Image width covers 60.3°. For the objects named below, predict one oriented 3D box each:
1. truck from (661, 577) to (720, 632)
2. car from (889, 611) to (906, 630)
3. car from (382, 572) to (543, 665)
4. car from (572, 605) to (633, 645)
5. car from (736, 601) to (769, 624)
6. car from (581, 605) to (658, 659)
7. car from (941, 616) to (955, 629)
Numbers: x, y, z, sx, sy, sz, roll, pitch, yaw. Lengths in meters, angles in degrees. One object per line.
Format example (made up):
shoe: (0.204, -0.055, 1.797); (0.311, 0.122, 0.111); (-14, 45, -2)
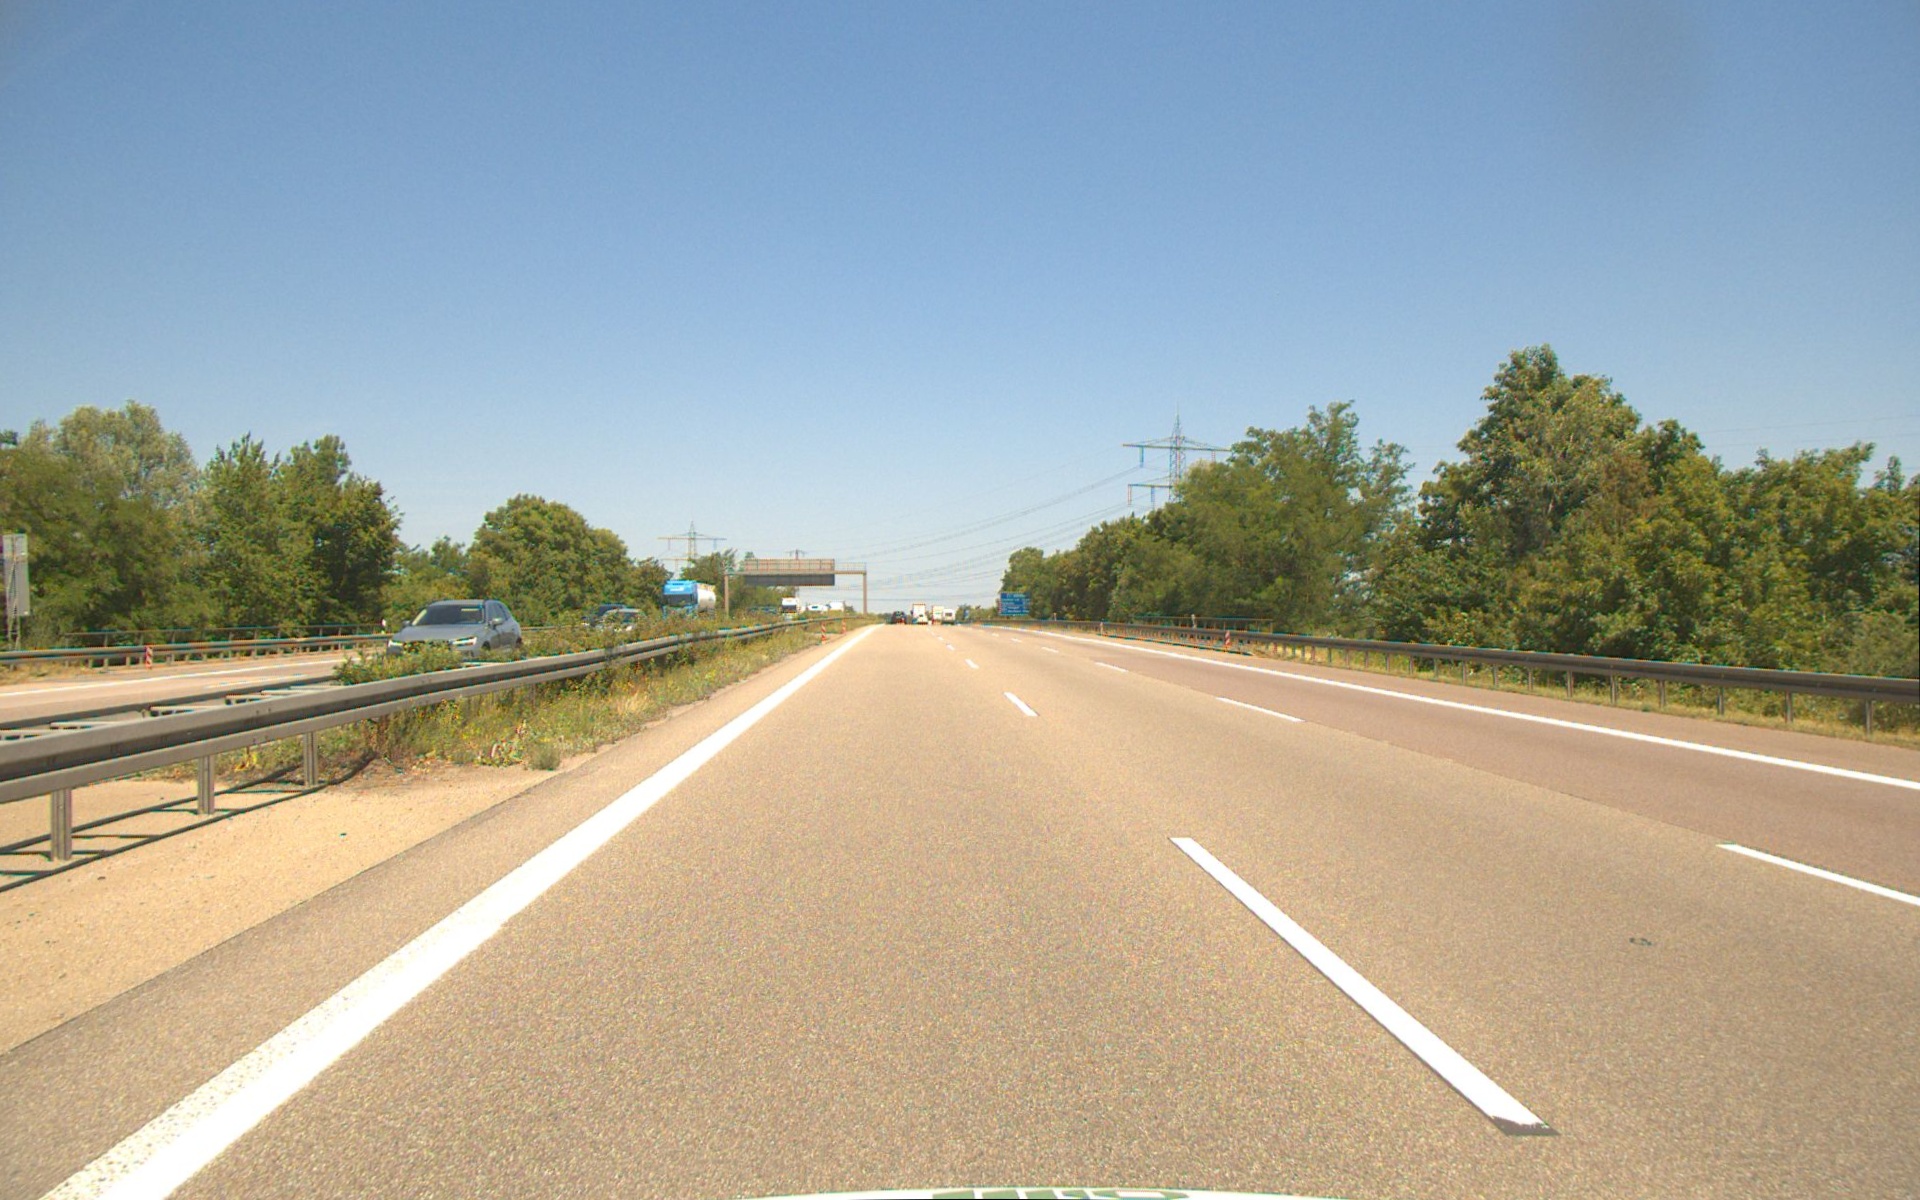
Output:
truck: (-21.653, 0.441, 133.787); (2.674, 4.124, 15.929); (0, -1, -2)
car: (-6.873, 2.293, 182.713); (1.755, 2.049, 3.886); (1, -1, -2)
car: (-10.243, 0.357, 34.463); (1.953, 1.761, 5.105); (-1, 0, -2)
car: (-15.646, 1.072, 72.606); (1.954, 1.646, 3.998); (-1, 0, -3)
car: (-18.221, 1.099, 145.439); (2.364, 1.951, 5.780); (-1, 0, -2)
car: (-11.883, 1.087, 57.982); (1.953, 1.761, 4.091); (-1, 0, -2)
car: (-1.798, 3.383, 249.650); (1.953, 2.049, 3.998); (0, -1, -2)
